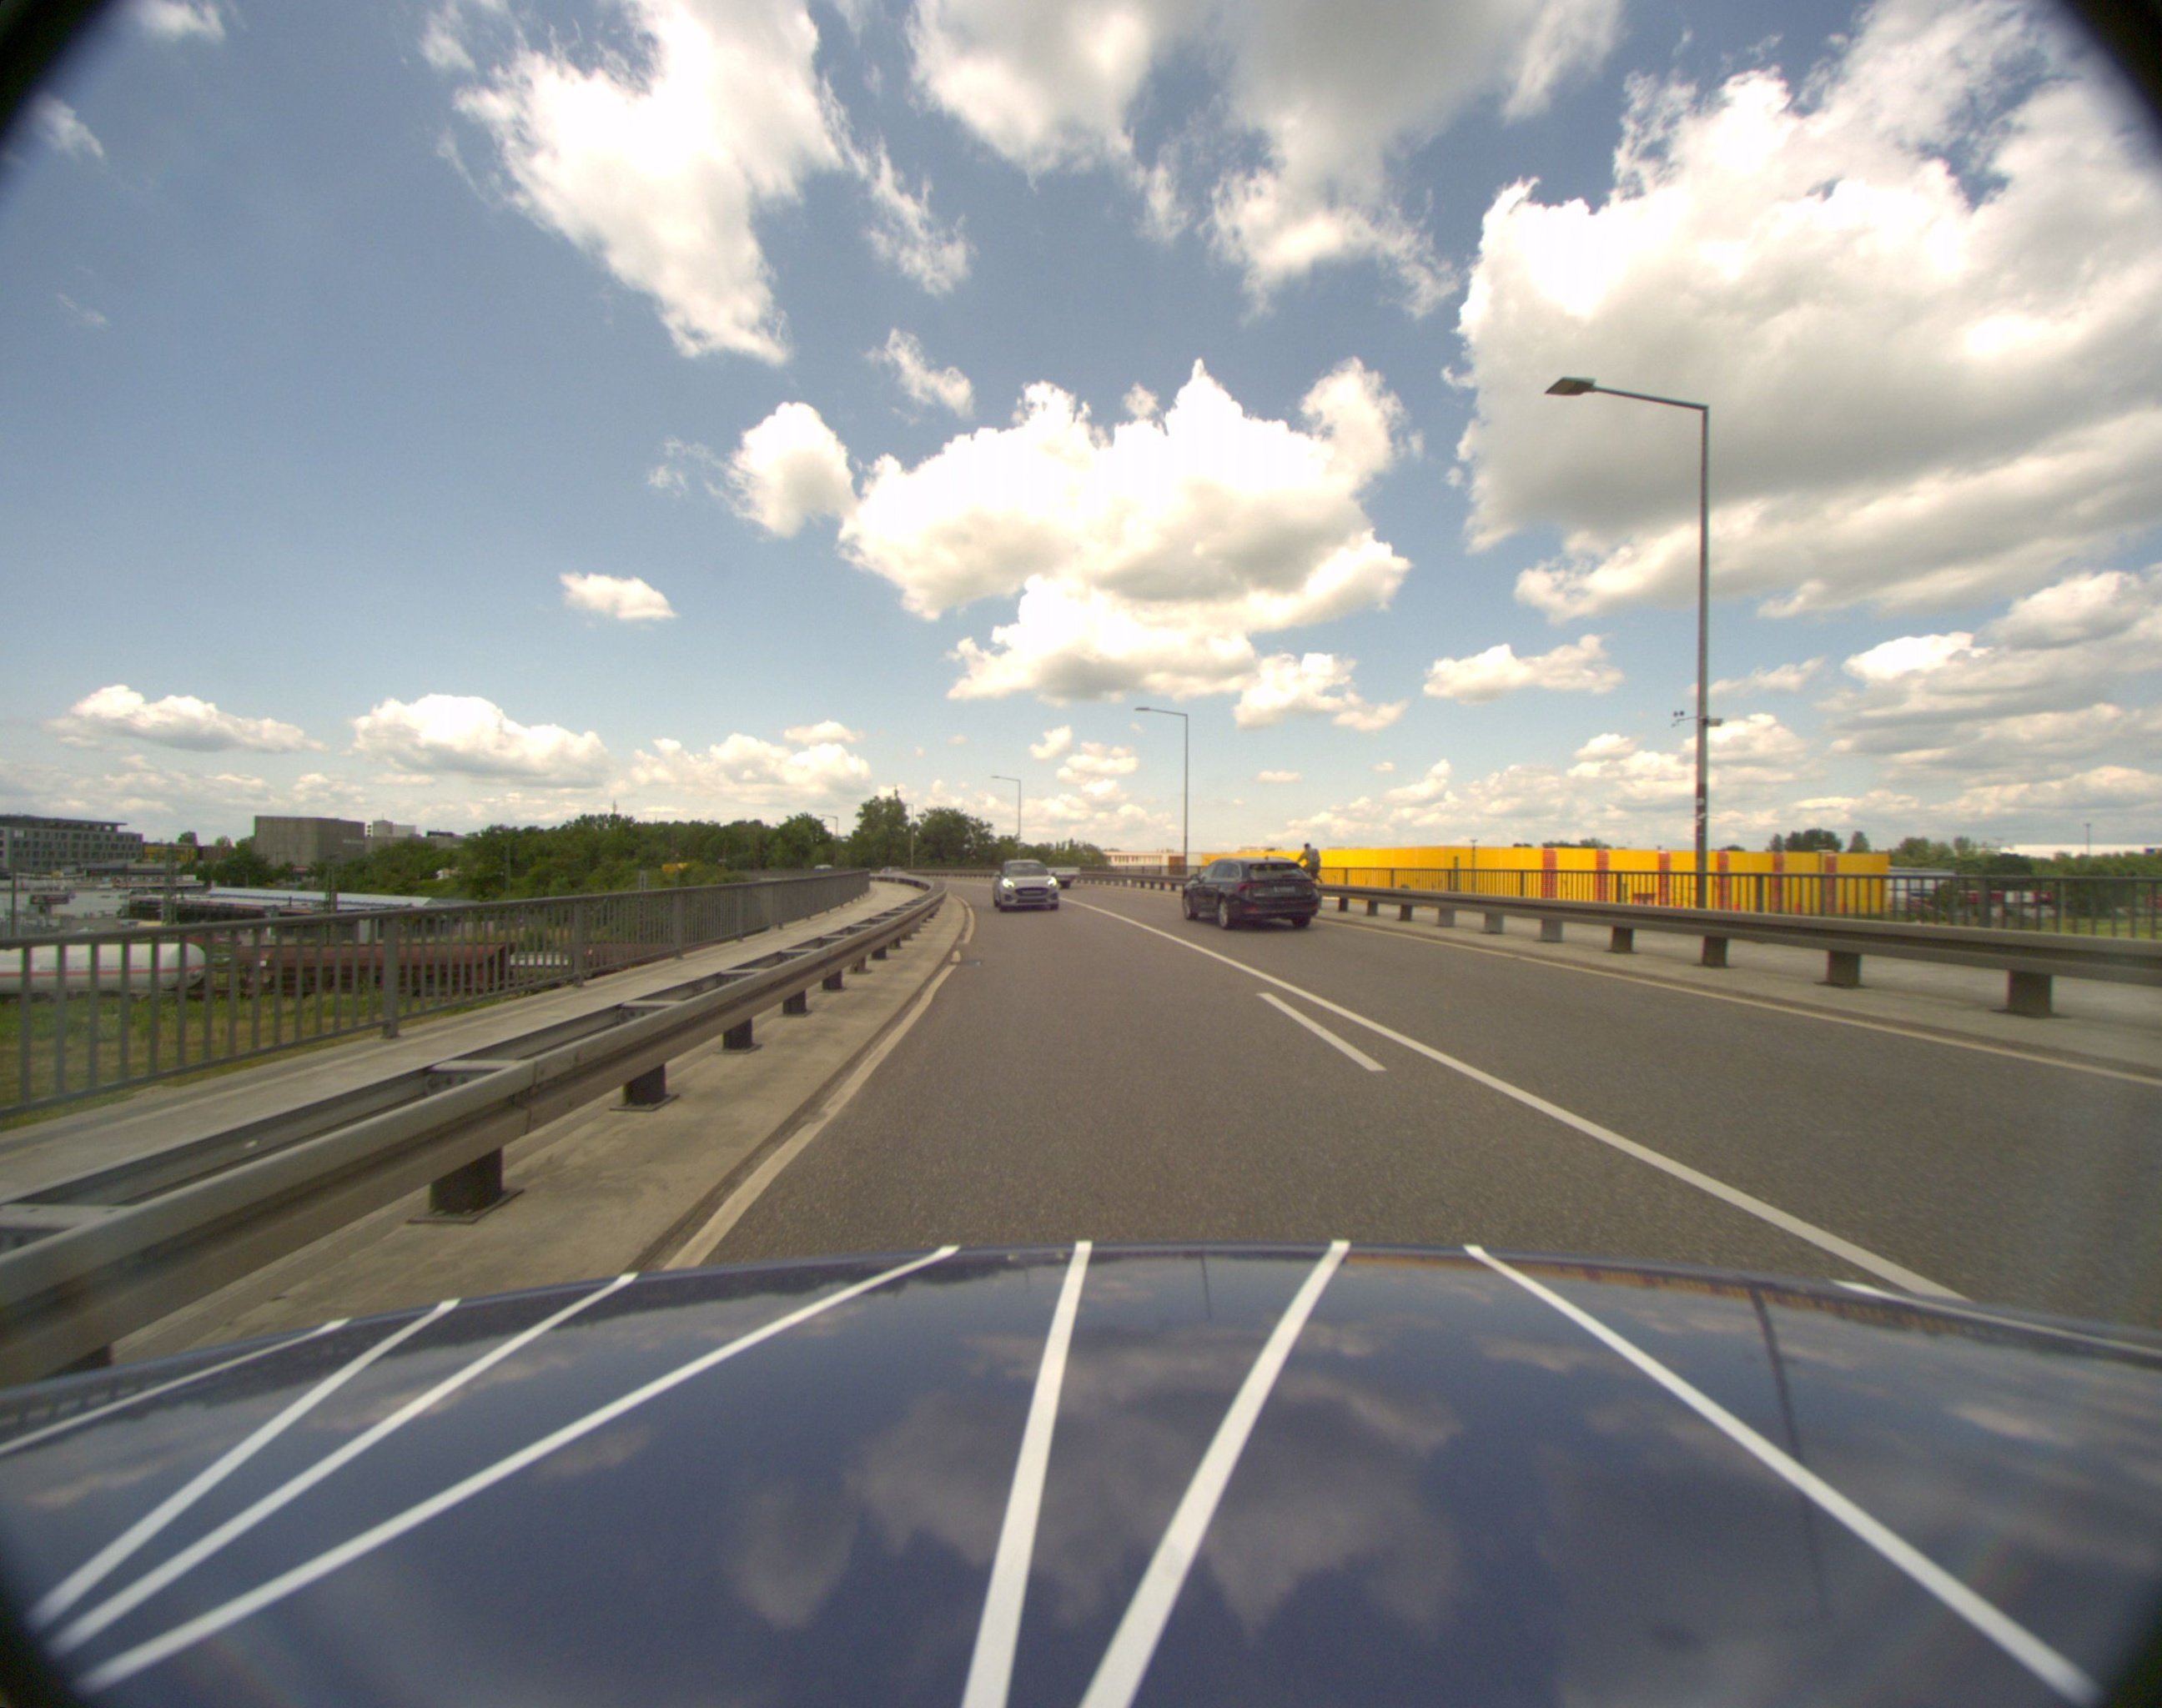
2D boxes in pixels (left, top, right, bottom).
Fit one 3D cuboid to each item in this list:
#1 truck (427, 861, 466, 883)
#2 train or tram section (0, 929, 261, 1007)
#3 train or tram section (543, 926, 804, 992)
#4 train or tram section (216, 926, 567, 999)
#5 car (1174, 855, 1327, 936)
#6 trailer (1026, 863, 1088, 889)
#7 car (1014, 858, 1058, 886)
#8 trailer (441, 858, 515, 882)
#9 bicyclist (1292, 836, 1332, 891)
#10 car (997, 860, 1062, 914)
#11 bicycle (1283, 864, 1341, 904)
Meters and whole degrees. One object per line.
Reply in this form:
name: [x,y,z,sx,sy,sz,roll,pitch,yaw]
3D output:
truck: [-126.605,3.522,151.605,5.644,4.111,2.772,-2,1,10]
train or tram section: [-64.147,7.266,48.523,16.972,4.130,3.213,0,3,-14]
train or tram section: [-28.850,7.434,54.540,16.603,4.130,3.138,1,3,-5]
train or tram section: [-46.598,7.310,52.196,18.902,4.130,3.216,0,3,-10]
car: [3.487,0.804,16.637,1.823,1.442,4.735,-2,0,-6]
trailer: [-1.370,1.111,40.009,2.053,1.202,5.975,-2,0,-14]
car: [-2.724,1.048,45.007,1.813,1.526,4.343,-2,0,-14]
trailer: [-119.174,3.235,150.179,14.208,4.255,2.717,-2,1,11]
bicyclist: [6.881,0.288,22.697,0.769,1.593,0.946,-1,1,-11]
car: [-1.738,0.983,24.320,1.829,1.516,3.998,-2,0,-7]
bicycle: [6.876,0.876,22.783,0.771,1.088,2.113,-1,0,-10]
